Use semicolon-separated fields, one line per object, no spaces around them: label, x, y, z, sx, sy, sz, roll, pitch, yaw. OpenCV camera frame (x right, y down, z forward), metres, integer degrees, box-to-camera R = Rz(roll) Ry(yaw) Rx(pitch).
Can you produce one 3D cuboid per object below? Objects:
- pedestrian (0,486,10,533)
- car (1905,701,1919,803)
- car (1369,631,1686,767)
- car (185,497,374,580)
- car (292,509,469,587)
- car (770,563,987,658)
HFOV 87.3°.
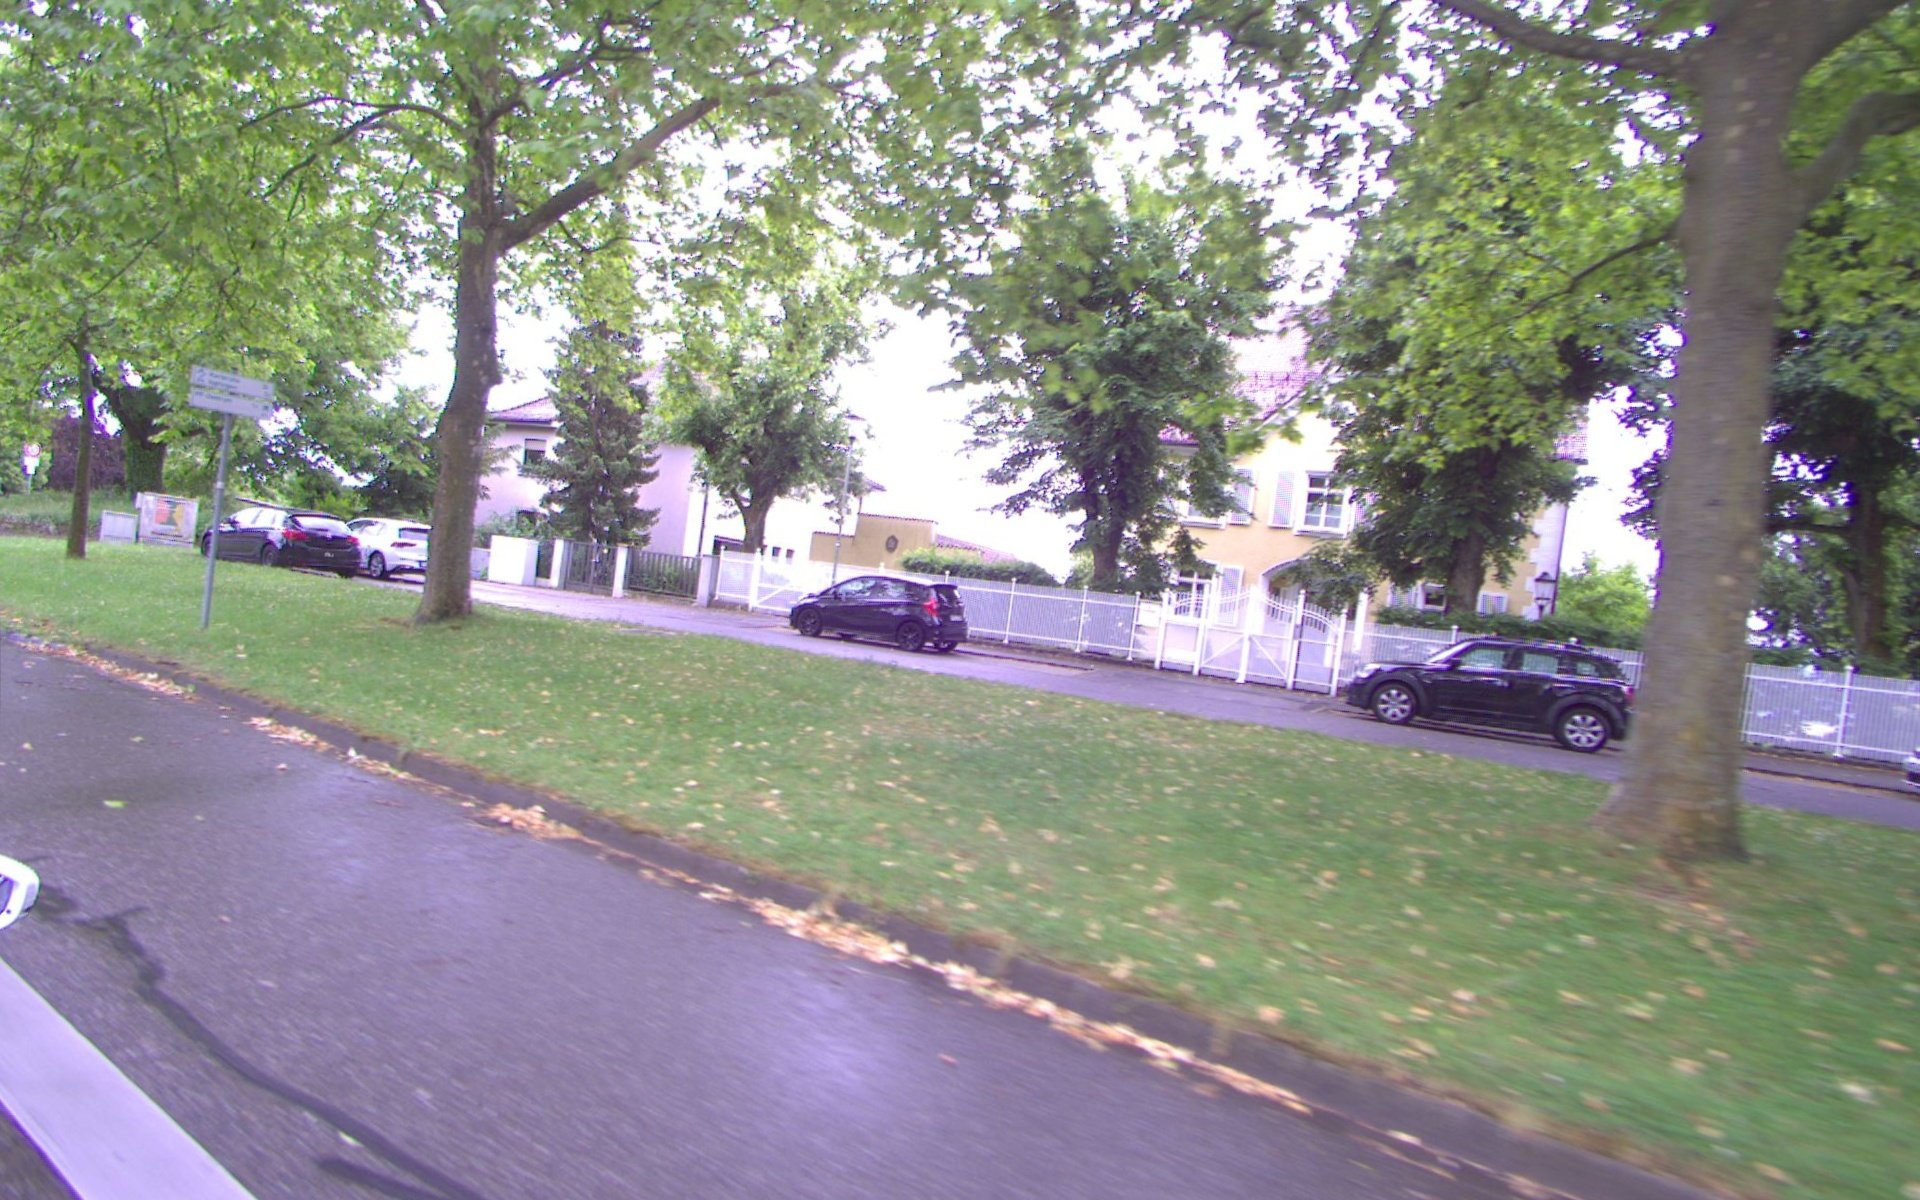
pedestrian;-36.841;-3.491;38.414;0.632;1.733;0.523;8;-1;-42
car;15.344;2.311;12.986;4.052;1.465;1.999;6;-2;27
car;8.880;1.528;16.109;4.052;1.488;1.999;6;-2;27
car;-15.672;-1.426;23.113;4.520;1.490;1.766;6;1;30
car;-14.642;-1.325;25.362;4.350;1.490;1.847;6;1;29
car;-1.788;0.225;21.836;4.281;1.488;1.765;6;-2;27
